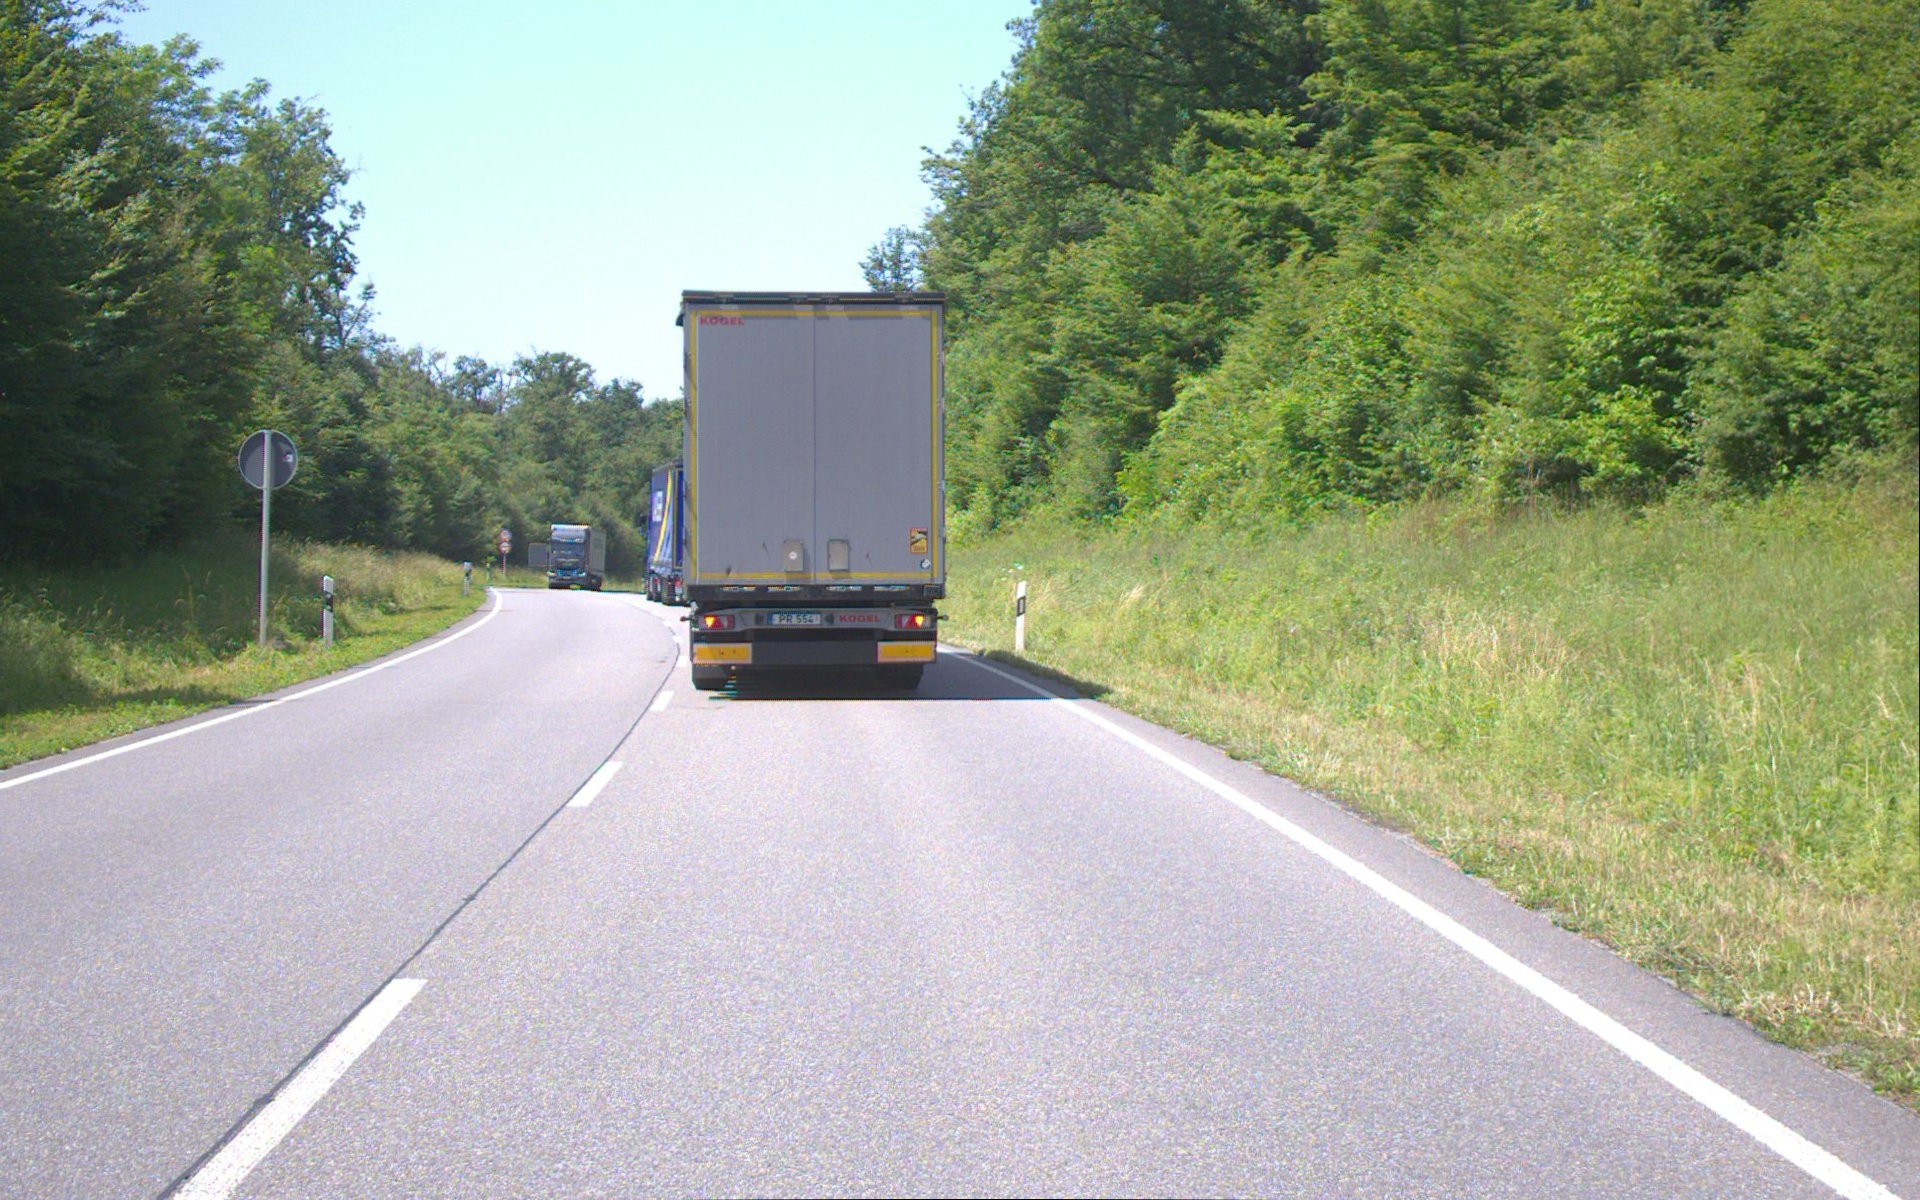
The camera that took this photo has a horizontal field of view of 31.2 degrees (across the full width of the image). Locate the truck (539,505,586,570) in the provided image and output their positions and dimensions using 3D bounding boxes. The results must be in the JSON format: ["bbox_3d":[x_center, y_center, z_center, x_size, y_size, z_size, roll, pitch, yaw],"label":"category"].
[{"bbox_3d":[-26.402,-4.158,228.236,2.922,4.201,5.344,-1,1,-8],"label":"truck"}]

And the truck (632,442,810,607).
[{"bbox_3d":[-7.157,-2.194,100.355,3.792,4.358,14.924,1,1,-9],"label":"truck"}]

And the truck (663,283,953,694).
[{"bbox_3d":[-1.700,-1.178,39.347,2.761,3.933,12.199,1,1,-2],"label":"truck"}]
